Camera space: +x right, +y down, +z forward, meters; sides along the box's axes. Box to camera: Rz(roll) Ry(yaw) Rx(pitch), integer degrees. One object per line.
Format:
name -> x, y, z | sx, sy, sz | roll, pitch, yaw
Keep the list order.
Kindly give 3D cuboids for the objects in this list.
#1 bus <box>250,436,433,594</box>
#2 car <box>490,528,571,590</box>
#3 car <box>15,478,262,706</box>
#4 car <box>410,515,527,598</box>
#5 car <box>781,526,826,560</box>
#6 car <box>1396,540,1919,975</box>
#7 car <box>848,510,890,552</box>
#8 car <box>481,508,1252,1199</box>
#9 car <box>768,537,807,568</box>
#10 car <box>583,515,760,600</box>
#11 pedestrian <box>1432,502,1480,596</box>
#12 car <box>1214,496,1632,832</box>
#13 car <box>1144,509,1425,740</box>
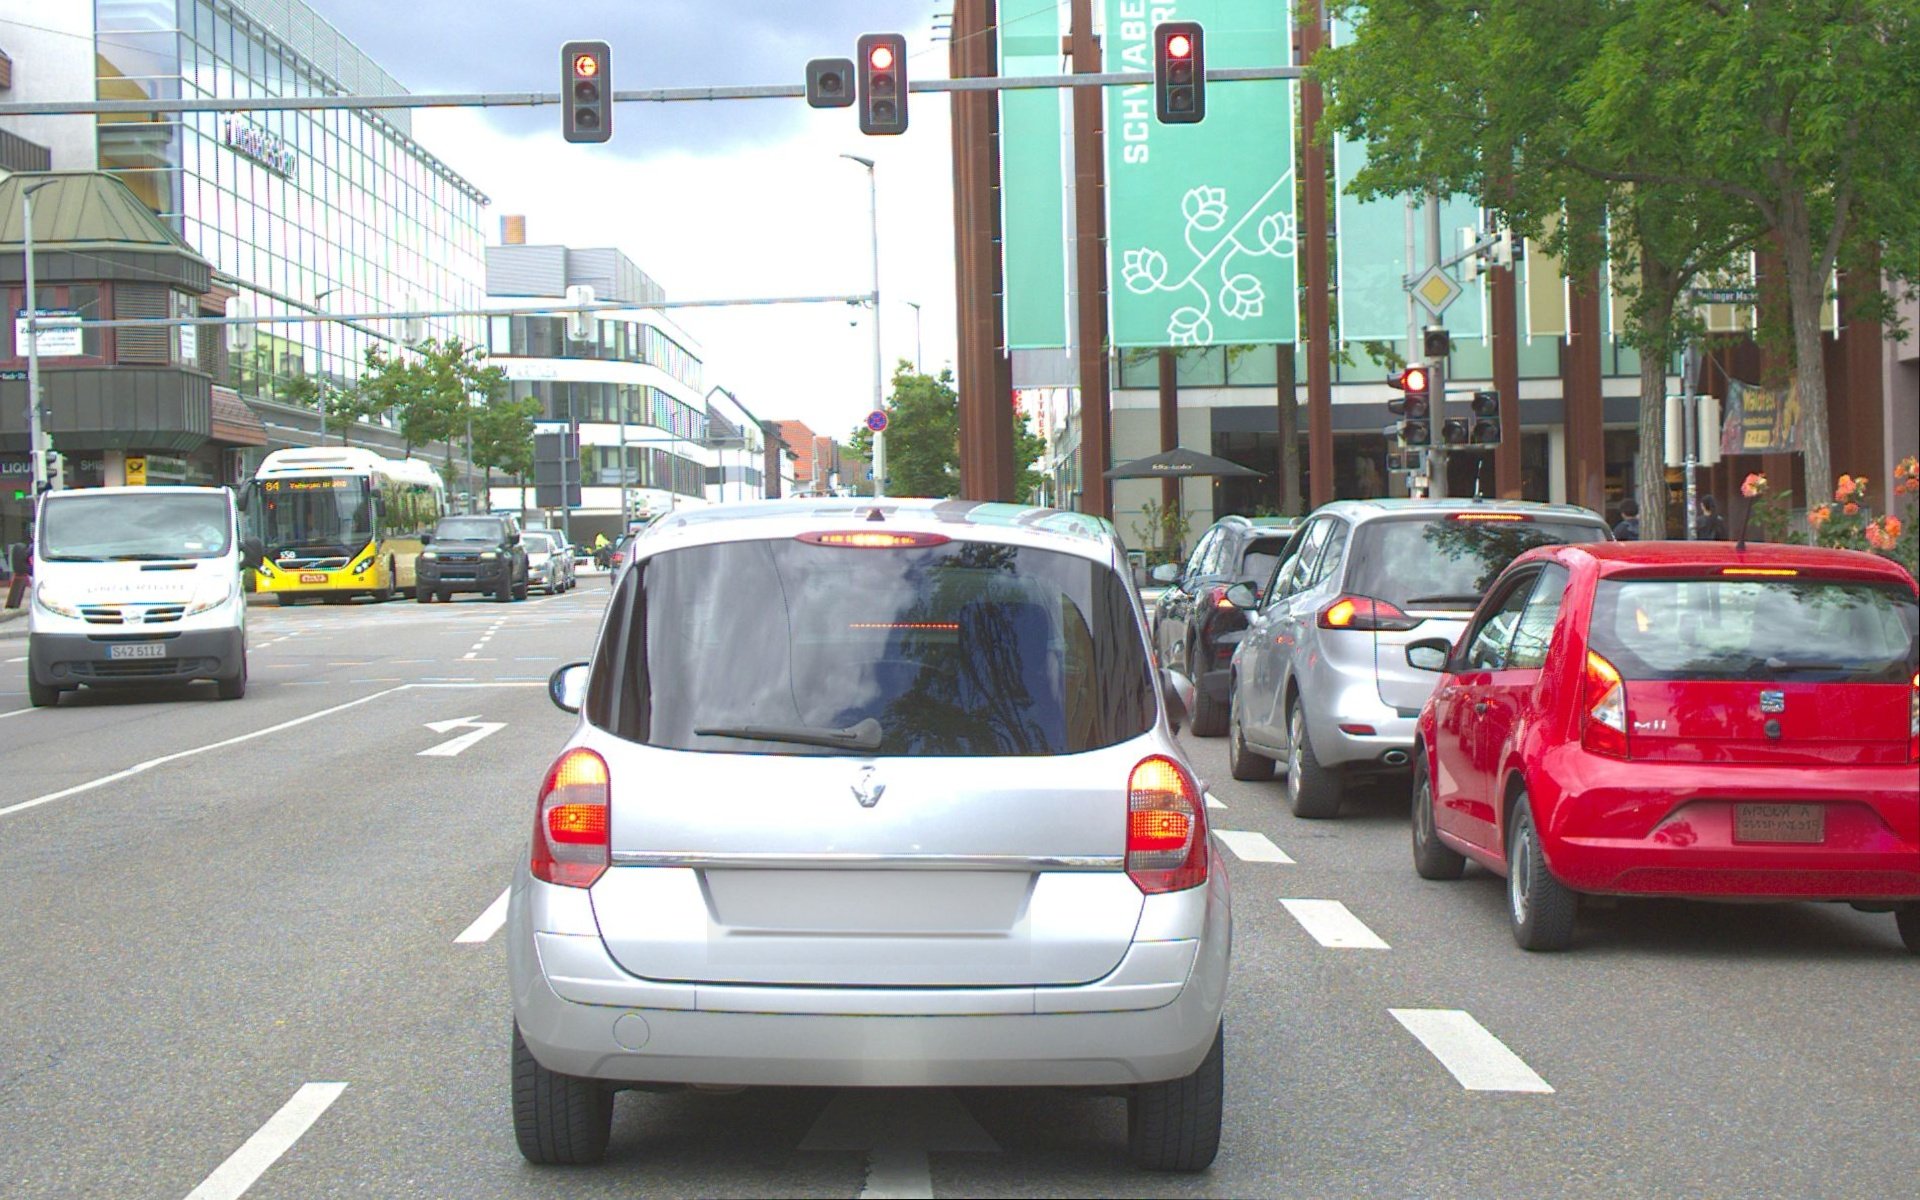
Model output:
bus -> -13.532, -1.864, 75.838 | 2.686, 3.250, 8.654 | -1, 1, -2
car -> -10.063, -0.975, 80.724 | 1.555, 1.387, 3.288 | -1, 1, -2
car -> -7.615, -0.121, 32.157 | 1.993, 1.881, 5.160 | -2, 1, -12
car -> -10.425, -0.955, 73.143 | 1.993, 1.700, 4.065 | -1, 1, -2
car -> -7.184, -2.625, 158.012 | 1.801, 1.535, 4.065 | -1, 1, 1
car -> 2.730, 0.509, 13.352 | 1.586, 1.438, 3.348 | 1, 1, -1
car -> -4.374, -3.311, 164.790 | 1.993, 1.942, 4.951 | -1, 1, -2
car -> -0.225, 0.529, 9.039 | 1.640, 1.522, 3.394 | 0, 1, -1
car -> -9.010, -2.494, 179.939 | 1.801, 1.535, 4.065 | -1, 1, 1
car -> -5.899, -0.894, 70.884 | 1.919, 1.671, 4.237 | 0, 1, 22
pedestrian -> 8.825, -0.907, 61.192 | 0.651, 1.645, 0.559 | -1, 1, -15
car -> 2.420, 0.272, 18.837 | 1.586, 1.628, 3.917 | 1, 1, -2
car -> 2.370, 0.131, 25.960 | 1.586, 1.589, 3.869 | 1, 1, -2
